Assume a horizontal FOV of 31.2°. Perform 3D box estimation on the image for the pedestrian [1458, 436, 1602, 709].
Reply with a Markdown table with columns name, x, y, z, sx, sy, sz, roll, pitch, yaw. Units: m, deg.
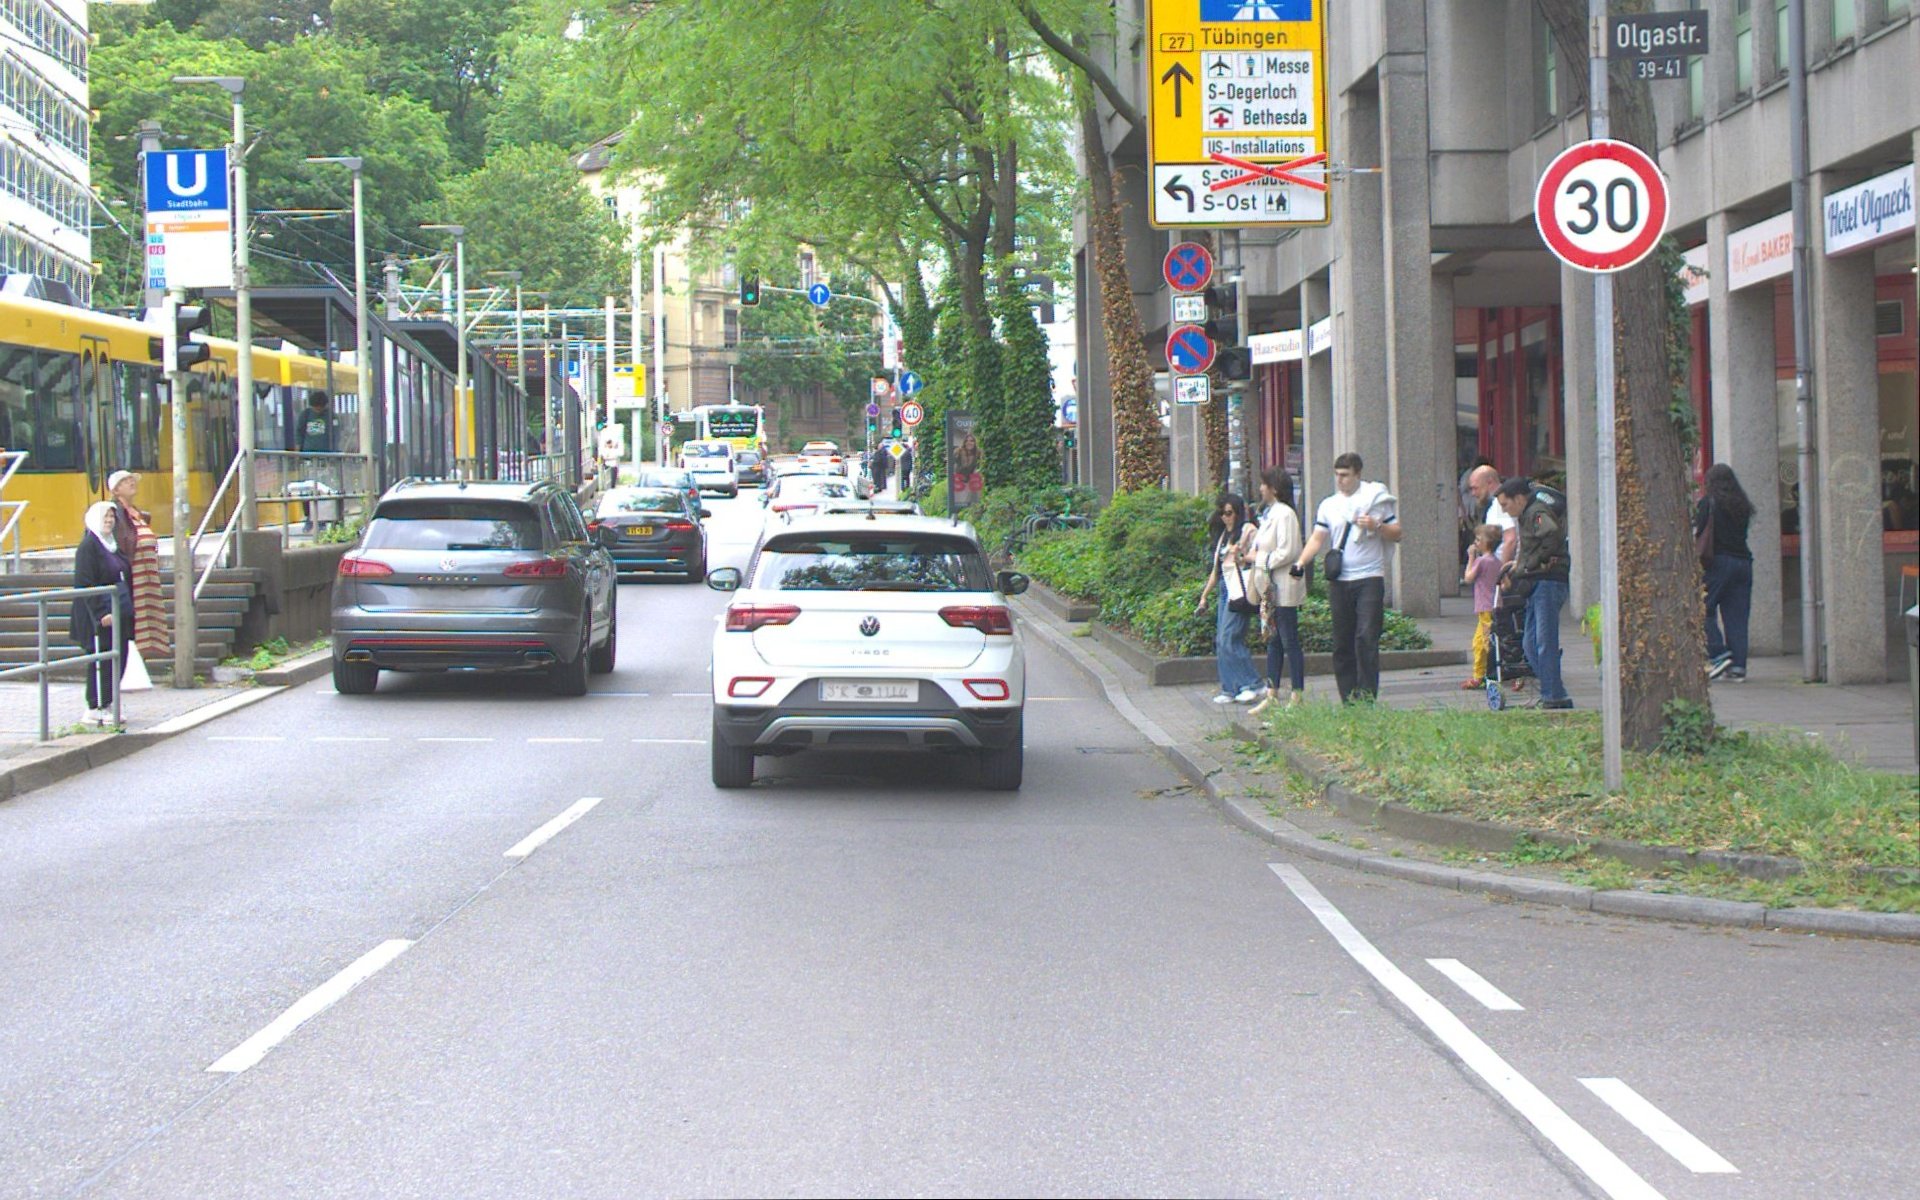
| name | x | y | z | sx | sy | sz | roll | pitch | yaw |
| --- | --- | --- | --- | --- | --- | --- | --- | --- | --- |
| pedestrian | 3.900 | -0.204 | 23.571 | 0.721 | 1.796 | 0.835 | -3 | 4 | -7 |

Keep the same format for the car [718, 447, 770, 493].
| name | x | y | z | sx | sy | sz | roll | pitch | yaw |
| --- | --- | --- | --- | --- | --- | --- | --- | --- | --- |
| car | -8.390 | -5.039 | 133.623 | 1.884 | 1.678 | 4.162 | 1 | 1 | -2 |

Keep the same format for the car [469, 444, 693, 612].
| name | x | y | z | sx | sy | sz | roll | pitch | yaw |
| --- | --- | --- | --- | --- | --- | --- | --- | --- | --- |
| car | -4.789 | -0.909 | 44.210 | 2.364 | 2.007 | 5.148 | 1 | 1 | -1 |

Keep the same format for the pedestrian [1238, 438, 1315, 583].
| name | x | y | z | sx | sy | sz | roll | pitch | yaw |
| --- | --- | --- | --- | --- | --- | --- | --- | --- | --- |
| pedestrian | 3.996 | -1.136 | 43.421 | 0.762 | 1.776 | 0.848 | -2 | 4 | -8 |

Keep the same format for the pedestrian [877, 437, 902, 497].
| name | x | y | z | sx | sy | sz | roll | pitch | yaw |
| --- | --- | --- | --- | --- | --- | --- | --- | --- | --- |
| pedestrian | -2.351 | -4.469 | 115.488 | 0.762 | 2.007 | 0.838 | 1 | 1 | 3 |

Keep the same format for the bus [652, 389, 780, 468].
| name | x | y | z | sx | sy | sz | roll | pitch | yaw |
| --- | --- | --- | --- | --- | --- | --- | --- | --- | --- |
| bus | -10.970 | -7.553 | 153.105 | 3.371 | 3.054 | 13.329 | 0 | 1 | -14 |

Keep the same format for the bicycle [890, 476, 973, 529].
| name | x | y | z | sx | sy | sz | roll | pitch | yaw |
| --- | --- | --- | --- | --- | --- | --- | --- | --- | --- |
| bicycle | -0.690 | -2.338 | 82.509 | 1.881 | 1.262 | 0.764 | 1 | 1 | 8 |

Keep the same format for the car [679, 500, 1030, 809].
| name | x | y | z | sx | sy | sz | roll | pitch | yaw |
| --- | --- | --- | --- | --- | --- | --- | --- | --- | --- |
| car | -0.535 | 0.236 | 20.774 | 1.837 | 1.578 | 4.157 | 1 | 3 | 2 |

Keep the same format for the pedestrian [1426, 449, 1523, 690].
| name | x | y | z | sx | sy | sz | roll | pitch | yaw |
| --- | --- | --- | --- | --- | --- | --- | --- | --- | --- |
| pedestrian | 3.878 | -0.232 | 25.970 | 0.518 | 1.783 | 0.764 | 1 | 1 | -7 |

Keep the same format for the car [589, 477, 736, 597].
| name | x | y | z | sx | sy | sz | roll | pitch | yaw |
| --- | --- | --- | --- | --- | --- | --- | --- | --- | --- |
| car | -4.505 | -0.990 | 52.507 | 1.912 | 1.683 | 4.001 | 1 | 3 | -1 |

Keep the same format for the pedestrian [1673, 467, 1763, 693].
| name | x | y | z | sx | sy | sz | roll | pitch | yaw |
| --- | --- | --- | --- | --- | --- | --- | --- | --- | --- |
| pedestrian | 5.581 | -0.157 | 25.302 | 0.616 | 1.606 | 0.764 | -1 | 4 | 13 |

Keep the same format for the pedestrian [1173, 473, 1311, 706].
| name | x | y | z | sx | sy | sz | roll | pitch | yaw |
| --- | --- | --- | --- | --- | --- | --- | --- | --- | --- |
| pedestrian | 2.115 | -0.090 | 25.862 | 0.835 | 1.698 | 0.764 | -2 | 2 | -7 |

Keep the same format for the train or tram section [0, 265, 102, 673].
| name | x | y | z | sx | sy | sz | roll | pitch | yaw |
| --- | --- | --- | --- | --- | --- | --- | --- | --- | --- |
| train or tram section | -10.111 | -1.235 | 32.322 | 2.835 | 3.666 | 5.753 | 1 | 2 | -2 |

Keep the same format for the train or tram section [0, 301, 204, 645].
| name | x | y | z | sx | sy | sz | roll | pitch | yaw |
| --- | --- | --- | --- | --- | --- | --- | --- | --- | --- |
| train or tram section | -10.336 | -1.399 | 38.084 | 2.835 | 3.508 | 5.753 | 1 | 2 | -2 |

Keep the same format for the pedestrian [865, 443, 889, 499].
| name | x | y | z | sx | sy | sz | roll | pitch | yaw |
| --- | --- | --- | --- | --- | --- | --- | --- | --- | --- |
| pedestrian | -2.970 | -4.606 | 122.850 | 0.762 | 2.007 | 0.838 | 1 | 1 | 3 |

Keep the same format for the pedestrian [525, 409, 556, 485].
| name | x | y | z | sx | sy | sz | roll | pitch | yaw |
| --- | --- | --- | --- | --- | --- | --- | --- | --- | --- |
| pedestrian | -11.271 | -4.109 | 92.346 | 0.762 | 2.007 | 0.838 | 1 | 1 | -10 |

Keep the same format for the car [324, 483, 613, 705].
| name | x | y | z | sx | sy | sz | roll | pitch | yaw |
| --- | --- | --- | --- | --- | --- | --- | --- | --- | --- |
| car | -3.892 | -0.109 | 27.851 | 1.993 | 1.630 | 4.001 | 0 | 2 | -3 |

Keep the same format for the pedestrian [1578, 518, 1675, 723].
| name | x | y | z | sx | sy | sz | roll | pitch | yaw |
| --- | --- | --- | --- | --- | --- | --- | --- | --- | --- |
| pedestrian | 4.390 | 0.130 | 22.652 | 0.471 | 1.329 | 0.520 | 1 | 1 | -7 |

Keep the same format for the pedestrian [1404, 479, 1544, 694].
| name | x | y | z | sx | sy | sz | roll | pitch | yaw |
| --- | --- | --- | --- | --- | --- | --- | --- | --- | --- |
| pedestrian | 3.789 | -0.105 | 25.401 | 0.835 | 1.557 | 0.764 | 1 | 1 | -7 |

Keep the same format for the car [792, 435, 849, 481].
| name | x | y | z | sx | sy | sz | roll | pitch | yaw |
| --- | --- | --- | --- | --- | --- | --- | --- | --- | --- |
| car | -5.465 | -5.536 | 134.604 | 1.884 | 1.678 | 4.162 | 1 | 1 | -7 |

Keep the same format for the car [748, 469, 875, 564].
| name | x | y | z | sx | sy | sz | roll | pitch | yaw |
| --- | --- | --- | --- | --- | --- | --- | --- | --- | --- |
| car | -2.821 | -1.545 | 64.321 | 1.884 | 1.678 | 4.162 | 1 | 1 | -9 |

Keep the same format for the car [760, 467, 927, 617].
| name | x | y | z | sx | sy | sz | roll | pitch | yaw |
| --- | --- | --- | --- | --- | --- | --- | --- | --- | --- |
| car | -1.432 | -0.694 | 41.271 | 1.884 | 1.678 | 4.162 | 1 | 1 | -3 |

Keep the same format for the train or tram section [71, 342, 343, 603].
| name | x | y | z | sx | sy | sz | roll | pitch | yaw |
| --- | --- | --- | --- | --- | --- | --- | --- | --- | --- |
| train or tram section | -10.749 | -1.828 | 49.610 | 2.835 | 3.508 | 5.753 | 1 | 2 | -2 |

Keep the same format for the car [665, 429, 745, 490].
| name | x | y | z | sx | sy | sz | roll | pitch | yaw |
| --- | --- | --- | --- | --- | --- | --- | --- | --- | --- |
| car | -8.940 | -4.926 | 121.038 | 2.365 | 2.007 | 5.148 | 1 | 1 | 1 |

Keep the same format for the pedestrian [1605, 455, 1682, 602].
| name | x | y | z | sx | sy | sz | roll | pitch | yaw |
| --- | --- | --- | --- | --- | --- | --- | --- | --- | --- |
| pedestrian | 8.158 | -0.848 | 41.032 | 0.762 | 1.717 | 0.677 | 1 | -1 | 0 |

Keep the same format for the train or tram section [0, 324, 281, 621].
| name | x | y | z | sx | sy | sz | roll | pitch | yaw |
| --- | --- | --- | --- | --- | --- | --- | --- | --- | --- |
| train or tram section | -10.555 | -1.607 | 43.833 | 2.835 | 3.508 | 5.753 | 1 | 2 | -2 |

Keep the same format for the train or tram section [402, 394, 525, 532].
| name | x | y | z | sx | sy | sz | roll | pitch | yaw |
| --- | --- | --- | --- | --- | --- | --- | --- | --- | --- |
| train or tram section | -13.668 | -3.757 | 95.081 | 2.813 | 3.653 | 6.753 | 1 | 2 | -4 |

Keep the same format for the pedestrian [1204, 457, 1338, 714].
| name | x | y | z | sx | sy | sz | roll | pitch | yaw |
| --- | --- | --- | --- | --- | --- | --- | --- | --- | --- |
| pedestrian | 2.232 | -0.114 | 24.733 | 0.693 | 1.771 | 0.690 | -5 | 2 | -7 |

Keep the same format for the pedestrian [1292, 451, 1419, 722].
| name | x | y | z | sx | sy | sz | roll | pitch | yaw |
| --- | --- | --- | --- | --- | --- | --- | --- | --- | --- |
| pedestrian | 2.765 | -0.099 | 24.057 | 0.733 | 1.868 | 0.733 | 0 | 1 | -7 |

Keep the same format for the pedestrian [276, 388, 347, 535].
| name | x | y | z | sx | sy | sz | roll | pitch | yaw |
| --- | --- | --- | --- | --- | --- | --- | --- | --- | --- |
| pedestrian | -7.704 | -1.635 | 40.874 | 0.717 | 1.725 | 0.671 | 1 | 1 | -1 |

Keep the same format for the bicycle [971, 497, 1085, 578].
| name | x | y | z | sx | sy | sz | roll | pitch | yaw |
| --- | --- | --- | --- | --- | --- | --- | --- | --- | --- |
| bicycle | 0.996 | -0.922 | 50.597 | 1.620 | 1.124 | 0.613 | -2 | 2 | 1 |

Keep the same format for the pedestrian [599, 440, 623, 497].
| name | x | y | z | sx | sy | sz | roll | pitch | yaw |
| --- | --- | --- | --- | --- | --- | --- | --- | --- | --- |
| pedestrian | -12.525 | -4.712 | 123.351 | 0.762 | 2.007 | 0.838 | 1 | 1 | -2 |

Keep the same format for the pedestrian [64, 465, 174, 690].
| name | x | y | z | sx | sy | sz | roll | pitch | yaw |
| --- | --- | --- | --- | --- | --- | --- | --- | --- | --- |
| pedestrian | -6.474 | -0.183 | 26.482 | 0.685 | 1.705 | 0.712 | 0 | 2 | -3 |

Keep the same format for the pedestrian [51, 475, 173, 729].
| name | x | y | z | sx | sy | sz | roll | pitch | yaw |
| --- | --- | --- | --- | --- | --- | --- | --- | --- | --- |
| pedestrian | -5.786 | -0.002 | 23.487 | 0.635 | 1.705 | 0.872 | 0 | 2 | -3 |

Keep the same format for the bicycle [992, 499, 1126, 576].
| name | x | y | z | sx | sy | sz | roll | pitch | yaw |
| --- | --- | --- | --- | --- | --- | --- | --- | --- | --- |
| bicycle | 1.484 | -0.948 | 51.836 | 1.915 | 1.073 | 0.613 | -3 | 2 | -5 |
